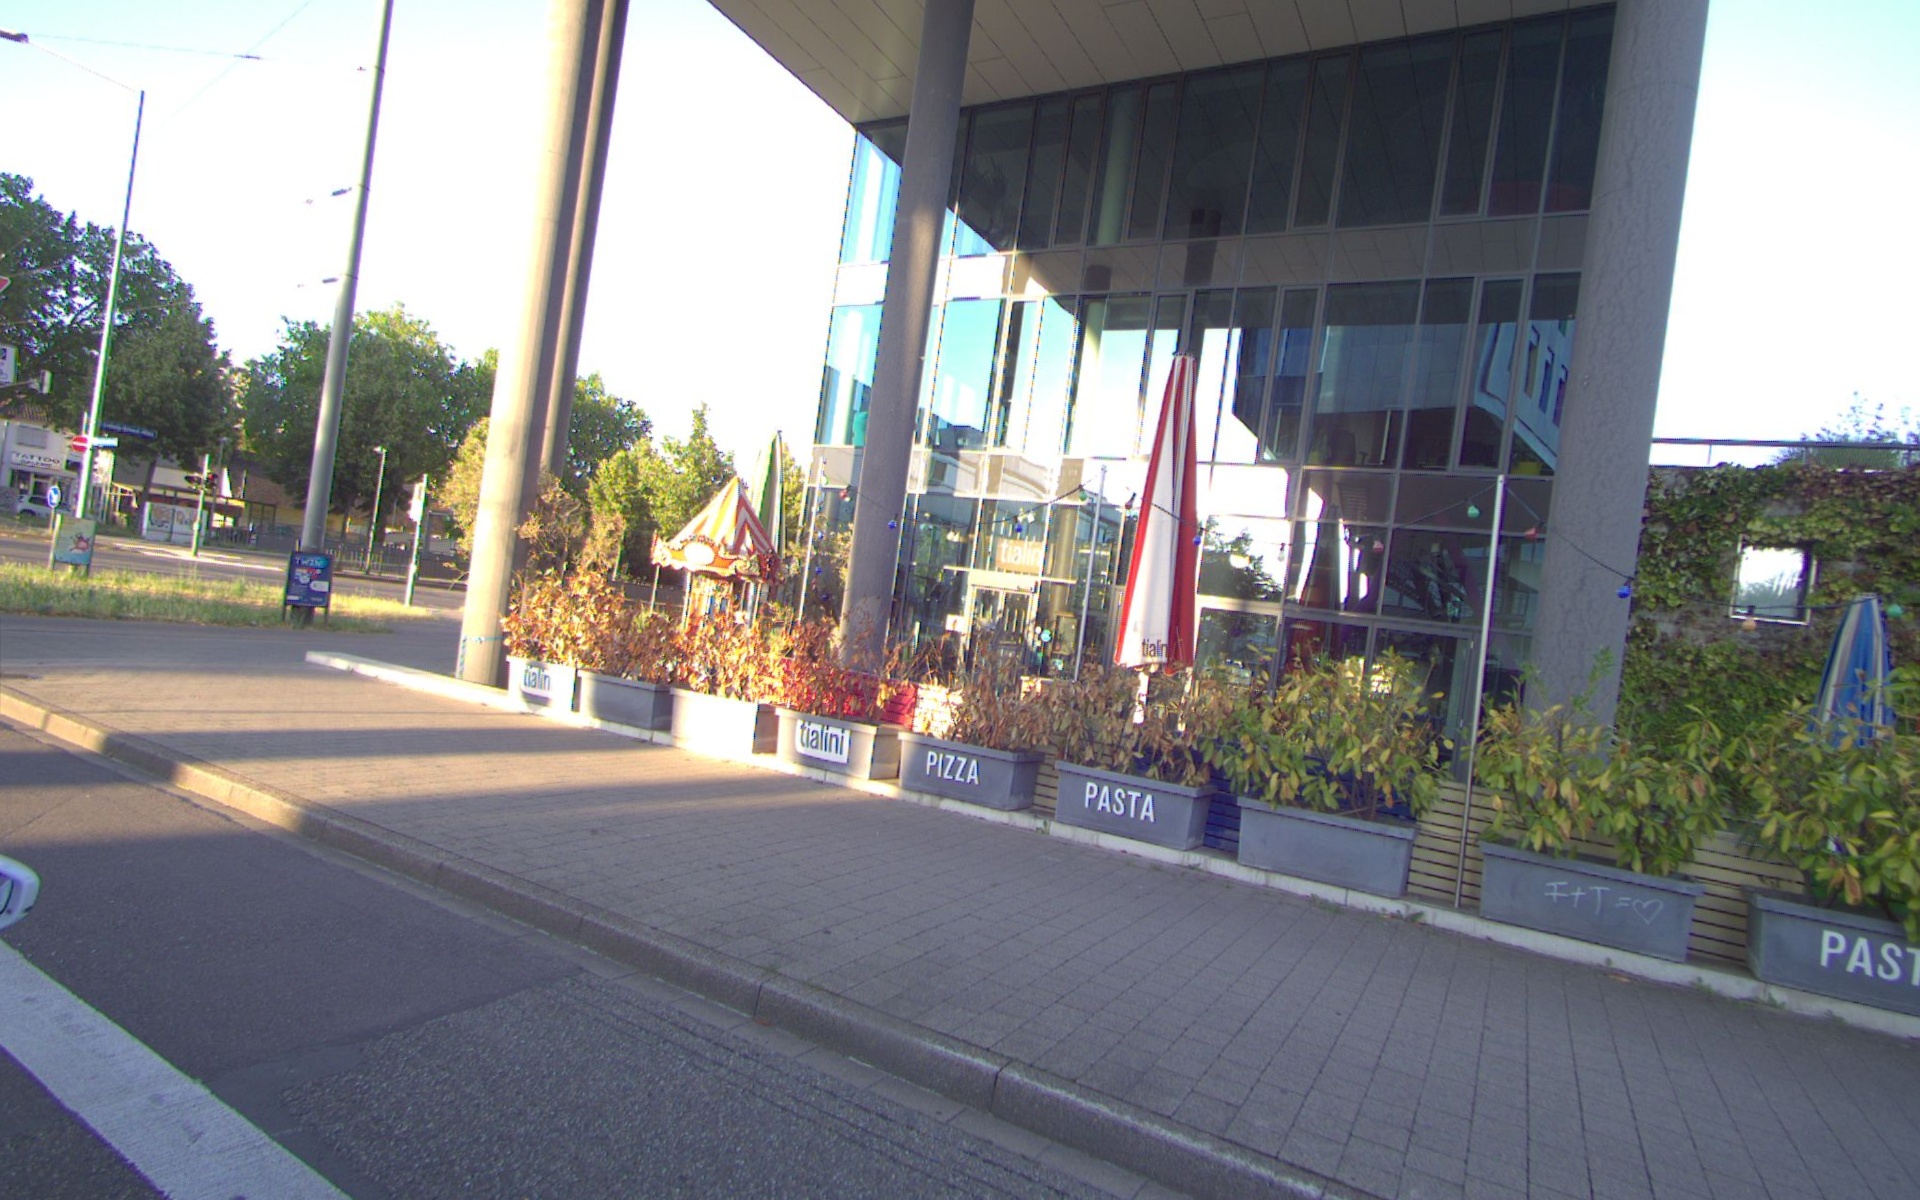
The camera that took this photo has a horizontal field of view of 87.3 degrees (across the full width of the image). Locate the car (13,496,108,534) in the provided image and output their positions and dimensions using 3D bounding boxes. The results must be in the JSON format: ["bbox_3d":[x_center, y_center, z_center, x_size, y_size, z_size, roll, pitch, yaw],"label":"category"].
[{"bbox_3d":[-50.225,-4.737,56.215,1.641,1.456,3.736,6,-2,41],"label":"car"}]

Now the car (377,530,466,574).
[{"bbox_3d":[-42.544,-3.763,79.564,2.197,2.581,5.594,7,-2,39],"label":"car"}]
